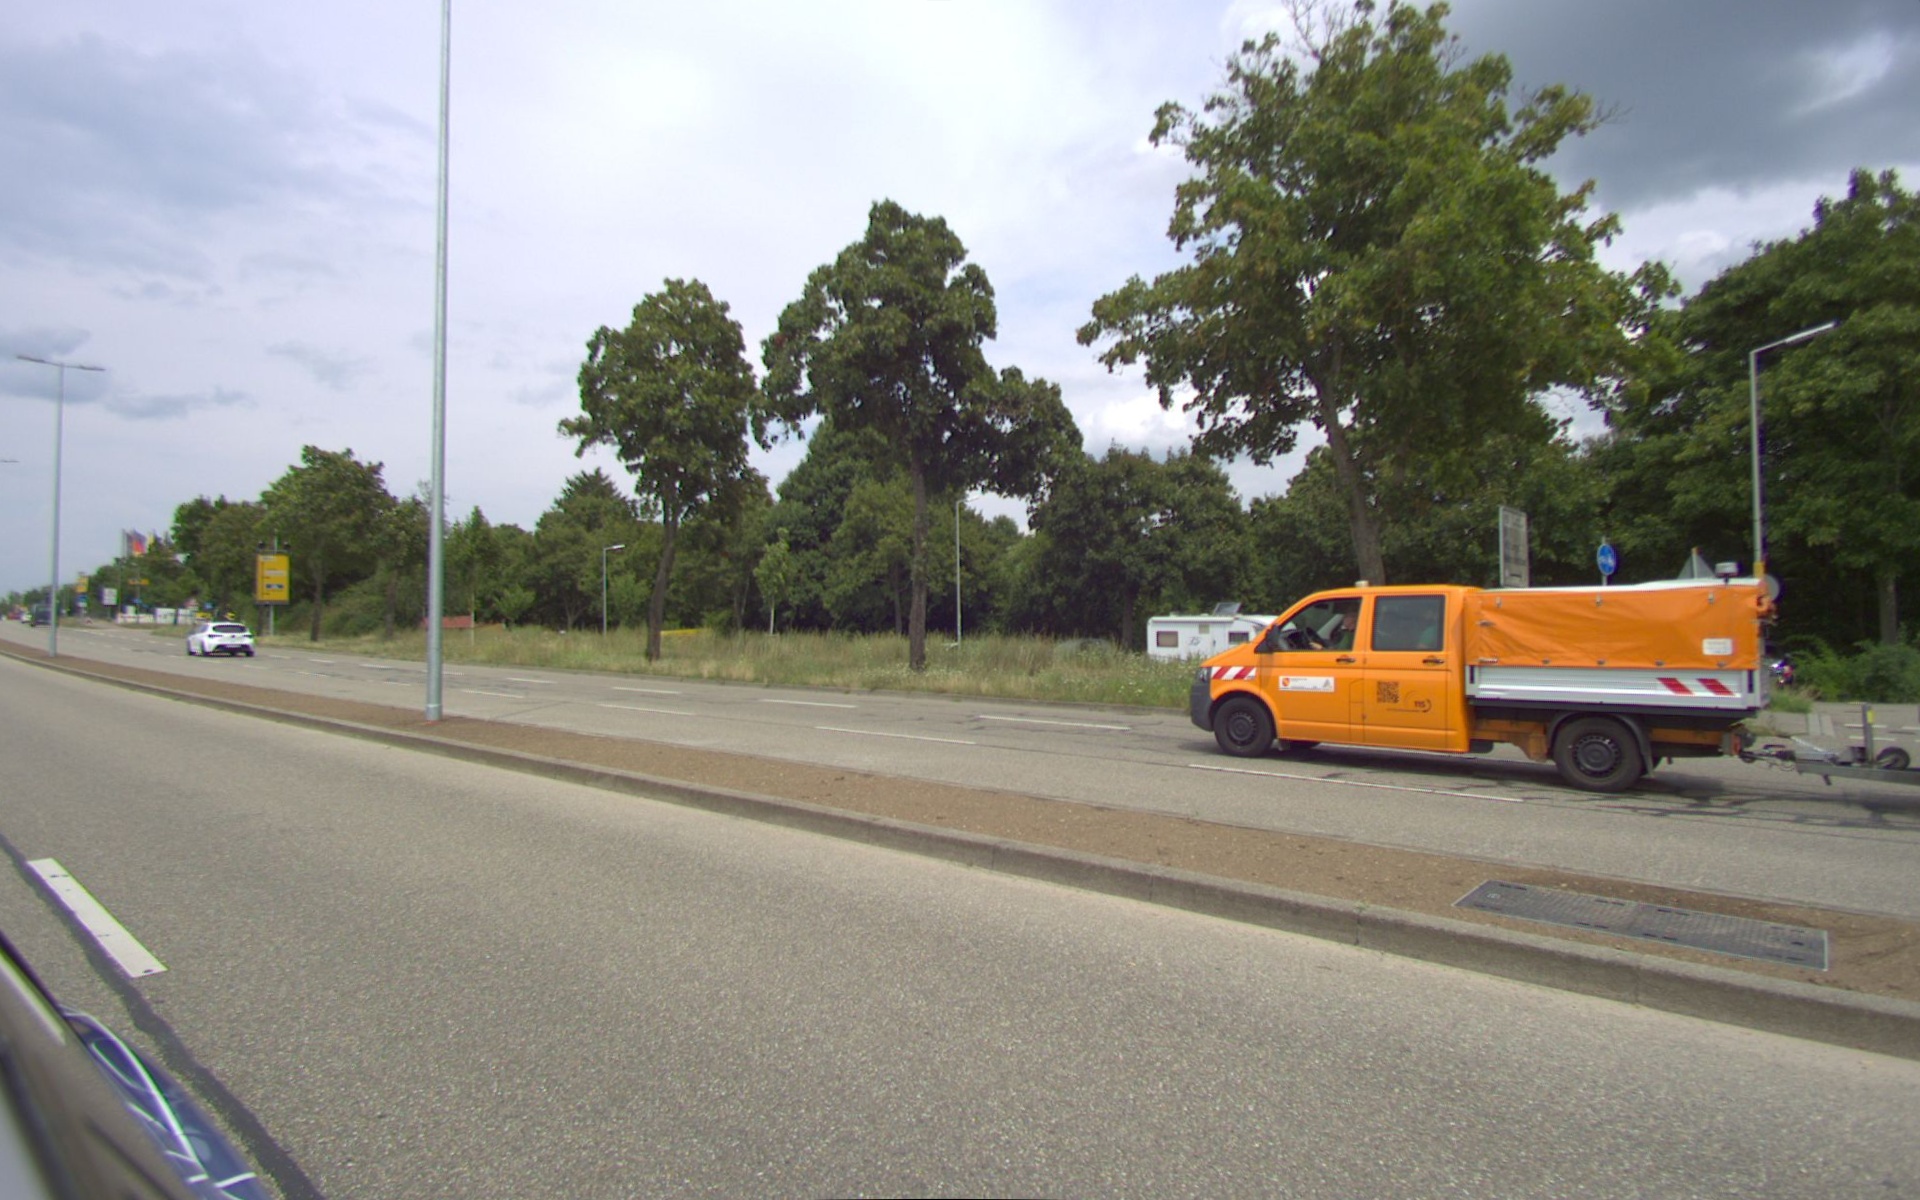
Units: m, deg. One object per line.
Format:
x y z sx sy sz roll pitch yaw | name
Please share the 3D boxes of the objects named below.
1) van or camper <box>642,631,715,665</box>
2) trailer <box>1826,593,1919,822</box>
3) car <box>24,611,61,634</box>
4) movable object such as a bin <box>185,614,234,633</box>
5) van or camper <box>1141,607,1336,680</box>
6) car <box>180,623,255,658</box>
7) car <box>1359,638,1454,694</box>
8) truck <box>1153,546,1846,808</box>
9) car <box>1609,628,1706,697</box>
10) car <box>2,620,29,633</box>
-18.960 3.217 68.325 4.298 2.029 2.004 -1 0 -39 | van or camper
8.889 0.809 7.335 3.894 1.702 2.040 -2 -3 42 | trailer
-92.244 2.274 101.748 6.001 2.218 2.073 -2 -3 42 | car
-95.539 2.970 128.868 1.994 2.415 4.541 -2 -2 33 | movable object such as a bin
10.417 1.648 38.392 6.718 2.560 2.445 -3 -3 42 | van or camper
-31.494 1.746 42.880 4.158 1.431 1.698 -3 -4 42 | car
15.248 2.197 34.492 1.885 1.729 3.946 -3 -2 40 | car
5.188 0.727 10.558 6.037 2.010 2.066 -3 -4 42 | truck
20.953 1.805 30.334 1.938 1.901 3.946 -3 -3 41 | car
-111.602 3.163 119.551 4.689 1.442 1.971 -2 -3 44 | car
